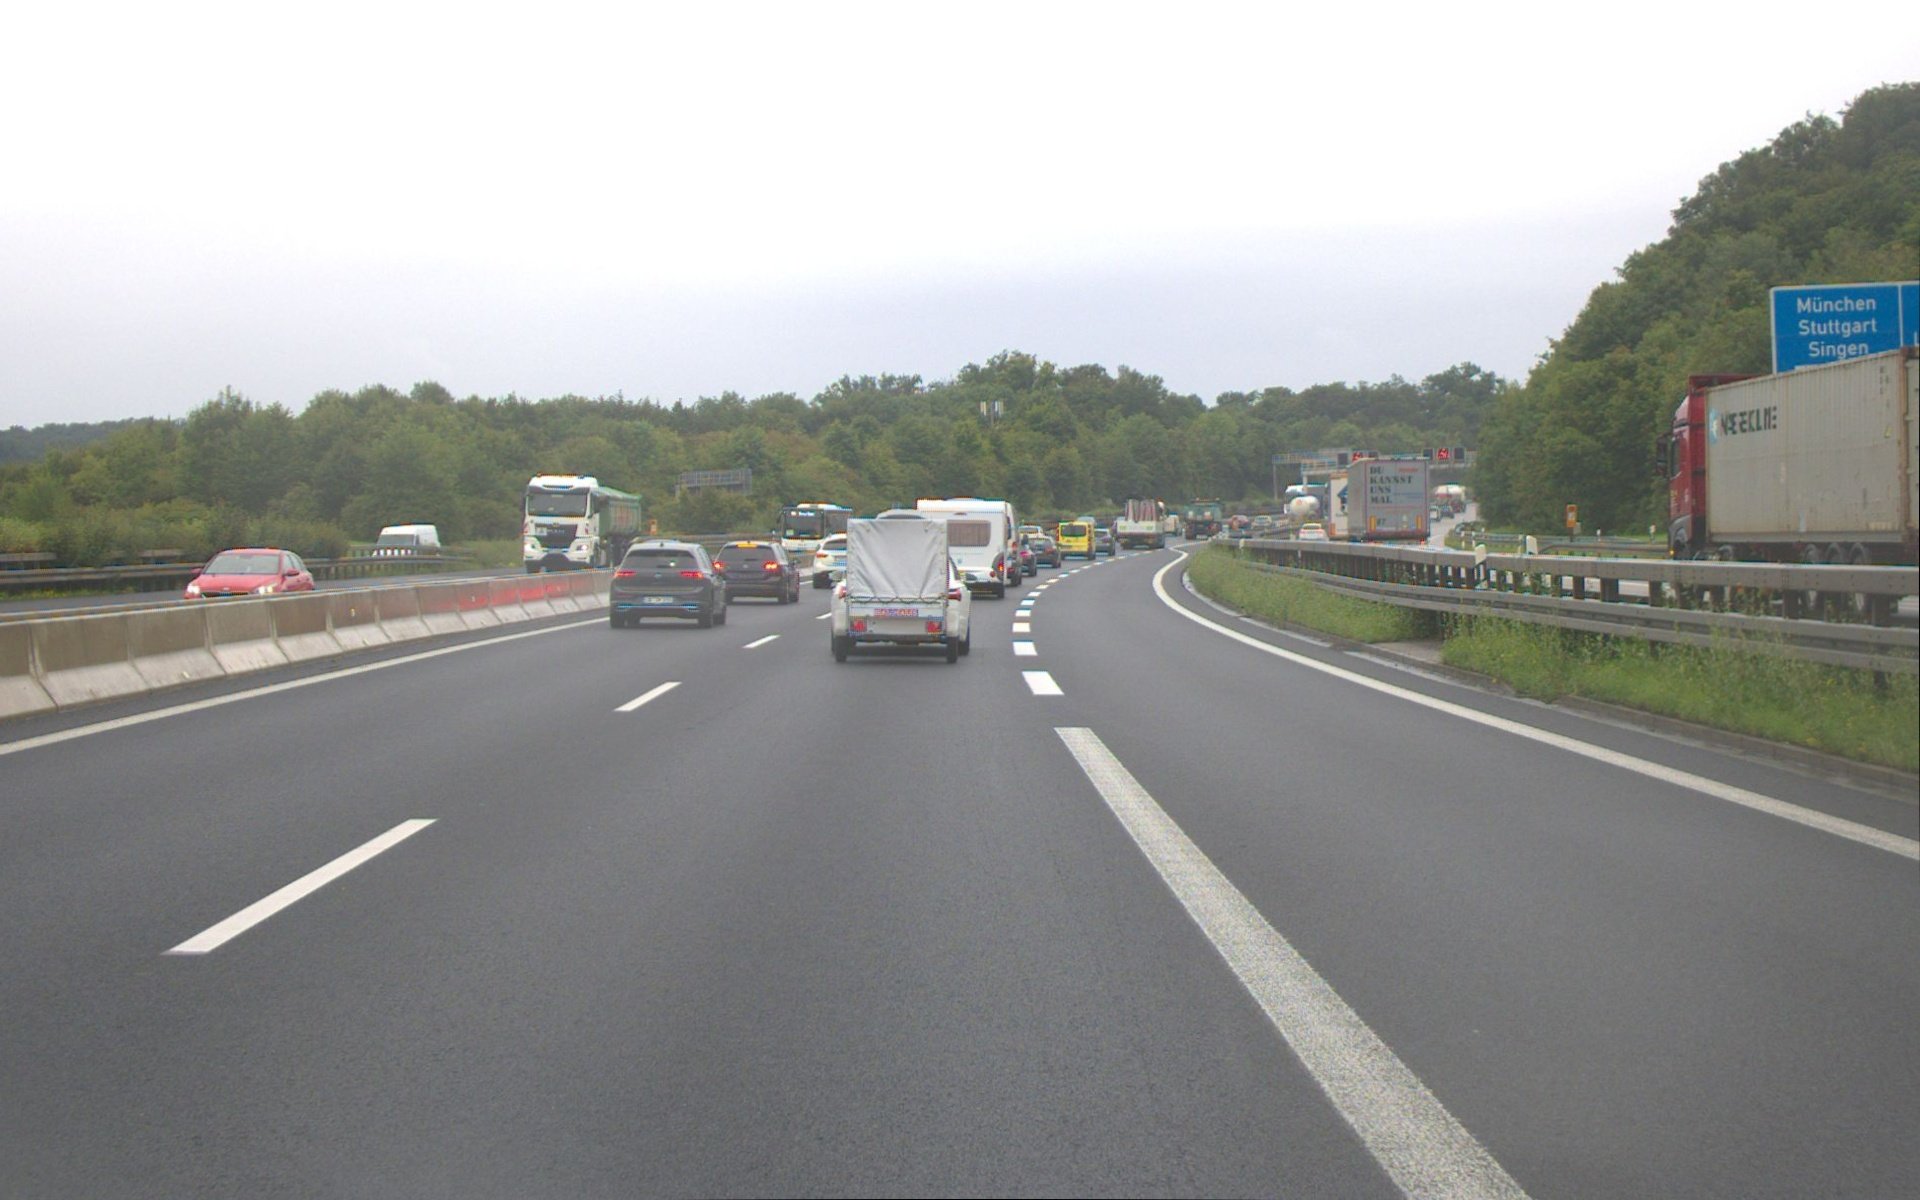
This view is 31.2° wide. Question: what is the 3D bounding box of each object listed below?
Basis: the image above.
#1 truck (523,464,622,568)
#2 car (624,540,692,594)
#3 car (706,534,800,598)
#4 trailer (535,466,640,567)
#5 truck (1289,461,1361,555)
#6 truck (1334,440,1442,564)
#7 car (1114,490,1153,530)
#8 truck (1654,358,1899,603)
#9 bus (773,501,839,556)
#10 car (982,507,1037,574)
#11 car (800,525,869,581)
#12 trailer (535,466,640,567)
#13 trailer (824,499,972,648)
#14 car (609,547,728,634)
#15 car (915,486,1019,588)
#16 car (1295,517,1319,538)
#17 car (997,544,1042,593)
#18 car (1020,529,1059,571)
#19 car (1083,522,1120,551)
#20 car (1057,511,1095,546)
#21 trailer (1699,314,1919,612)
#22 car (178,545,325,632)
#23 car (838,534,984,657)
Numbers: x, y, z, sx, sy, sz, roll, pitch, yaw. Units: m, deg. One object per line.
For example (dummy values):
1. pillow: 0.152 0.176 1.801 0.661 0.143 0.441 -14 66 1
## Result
1. truck: -14.375 -3.092 127.942 2.887 3.736 5.945 0 1 1
2. car: -10.727 -1.194 122.392 1.895 1.869 4.542 0 1 1
3. car: -4.814 -0.810 80.381 1.765 1.451 4.000 0 1 3
4. trailer: -14.248 -3.148 132.151 2.903 3.736 8.928 0 1 1
5. truck: 18.845 -4.682 178.130 3.216 4.650 13.031 0 1 4
6. truck: 16.894 -3.789 136.463 3.216 4.650 13.032 0 1 3
7. car: 11.633 -6.008 230.585 2.516 2.566 5.311 0 1 4
8. truck: 13.601 -1.941 57.758 2.616 3.871 6.392 0 1 0
9. bus: -9.071 -4.178 203.917 2.698 2.948 11.896 2 0 3
10. car: 1.550 -1.882 109.045 1.676 2.060 4.000 0 1 0
11. car: -3.756 -1.408 103.372 1.776 1.634 4.043 0 1 2
12. trailer: -14.248 -3.148 132.151 2.903 3.736 8.928 0 1 1
13. trailer: -0.749 -0.350 43.883 1.676 1.806 4.000 0 1 2
14. car: -5.032 -0.180 59.706 1.676 1.451 4.000 0 1 1
15. car: 0.232 -1.643 90.534 2.508 2.576 5.699 0 1 2
16. car: 25.186 -5.271 249.709 1.676 1.451 3.999 0 1 6
17. car: 2.255 -1.190 129.274 1.676 1.806 4.000 0 1 1
18. car: 3.515 -2.202 151.779 1.676 1.806 4.000 0 1 1
19. car: 8.248 -3.677 200.138 2.038 1.677 4.000 0 1 4
20. car: 6.115 -3.726 180.567 1.676 1.806 3.999 0 1 6
21. trailer: 13.606 -1.875 51.151 2.604 3.881 12.491 0 1 0
22. car: -13.327 -0.237 64.861 1.808 1.575 4.356 0 1 1
23. car: -0.623 -0.086 47.554 1.818 1.610 4.778 0 1 2
